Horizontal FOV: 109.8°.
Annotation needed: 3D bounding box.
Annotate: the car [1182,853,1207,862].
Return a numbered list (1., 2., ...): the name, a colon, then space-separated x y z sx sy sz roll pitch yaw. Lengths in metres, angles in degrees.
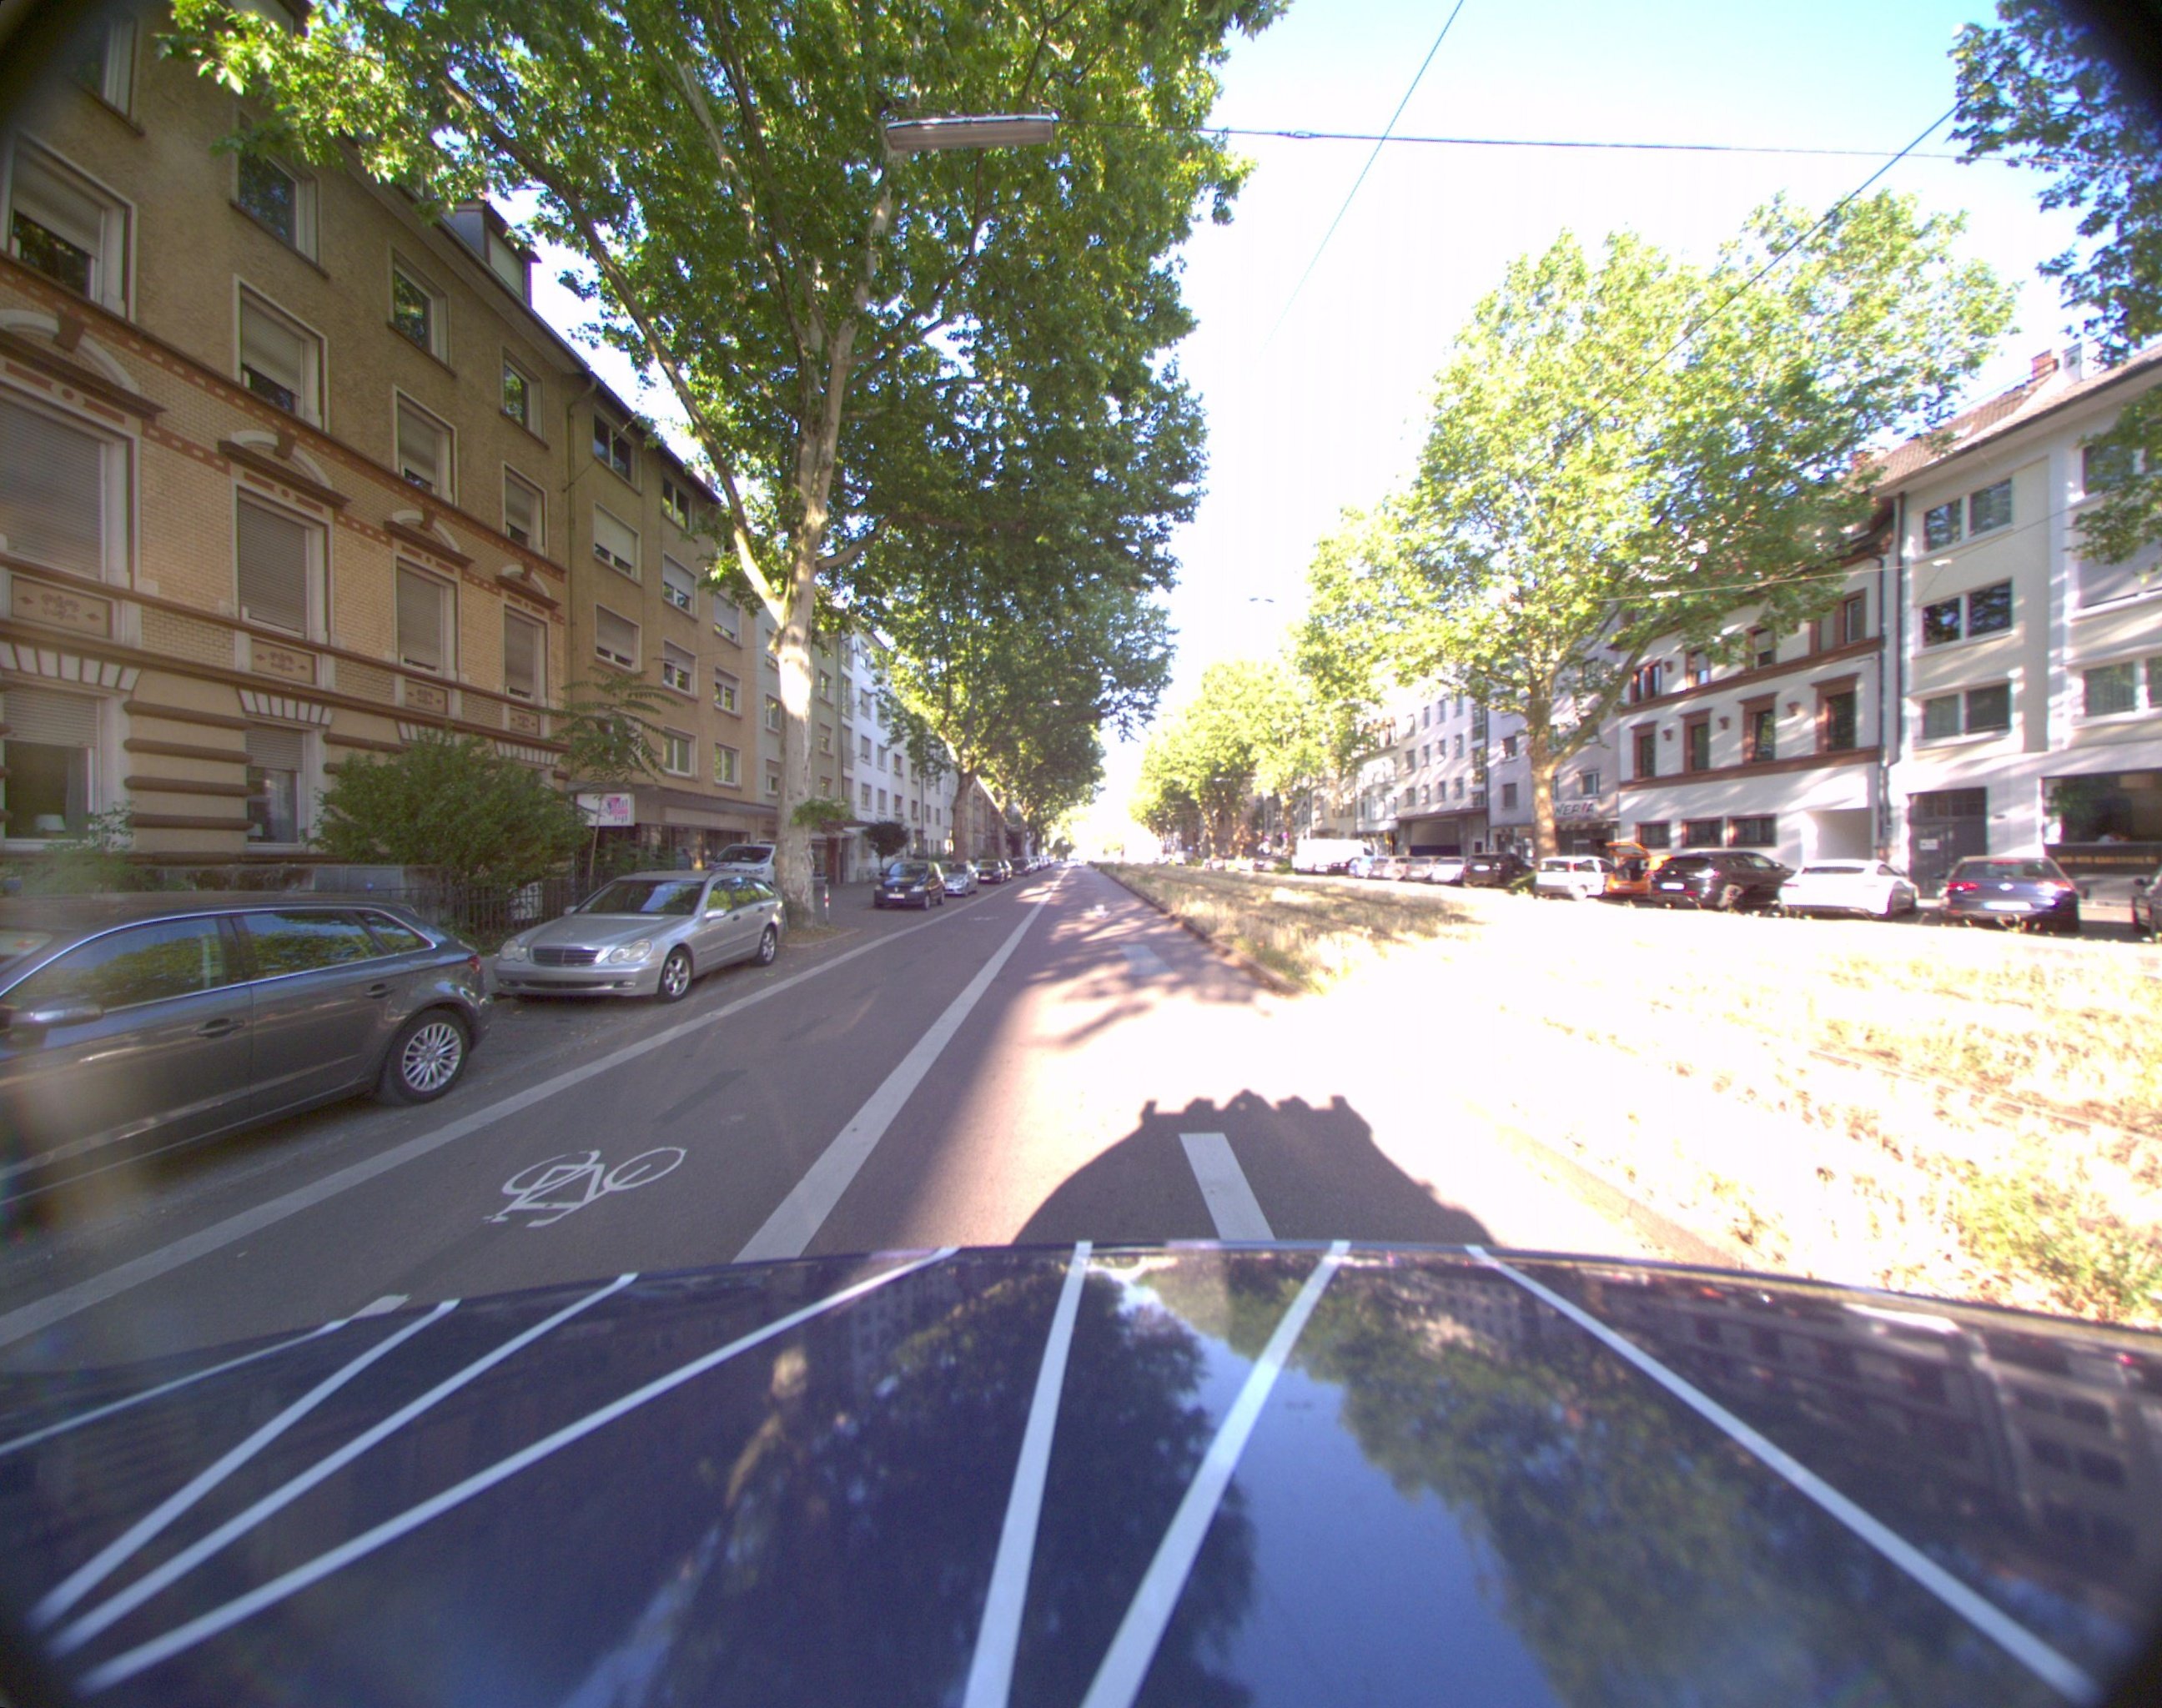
1. car: 18.979 0.589 127.203 4.006 1.240 1.726 -4 1 -34

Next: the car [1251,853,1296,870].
1. car: 18.649 0.718 73.554 4.169 1.583 1.932 2 -1 -36

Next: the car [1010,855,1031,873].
1. car: -5.277 0.860 66.491 1.748 1.455 4.024 -1 0 -5

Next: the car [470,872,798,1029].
1. car: -5.338 1.022 9.931 1.678 1.443 4.570 0 0 -2

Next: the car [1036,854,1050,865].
1. car: -5.482 0.787 109.731 1.790 1.609 3.829 1 0 0

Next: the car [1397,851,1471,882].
1. car: 19.066 0.655 40.956 4.006 1.414 1.752 -3 1 -34

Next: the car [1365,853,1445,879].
1. car: 19.177 0.715 45.087 4.002 1.483 1.948 0 0 -13

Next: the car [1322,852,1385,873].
1. car: 19.710 0.614 54.949 4.004 1.482 1.996 0 0 -22

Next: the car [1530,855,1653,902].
1. car: 18.044 0.810 26.819 4.369 1.440 1.655 -2 1 -26

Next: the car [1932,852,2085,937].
1. car: 19.367 0.771 16.032 4.007 1.433 1.797 -3 1 -43

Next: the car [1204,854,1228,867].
1. car: 15.047 0.686 85.103 1.825 1.382 4.483 2 0 -1

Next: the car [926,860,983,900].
1. car: -5.306 1.054 32.481 1.699 1.533 4.776 0 0 -1

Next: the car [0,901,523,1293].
1. car: -5.176 1.064 3.664 1.714 1.388 4.321 0 0 1

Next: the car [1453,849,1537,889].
1. car: 18.690 0.631 34.239 4.008 1.651 1.995 -1 0 -41

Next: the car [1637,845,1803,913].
1. car: 18.303 0.685 21.757 4.370 1.776 1.989 1 1 -26

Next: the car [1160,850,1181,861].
1. car: 18.319 0.382 154.814 4.007 2.002 1.995 -3 1 -42

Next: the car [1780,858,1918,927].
1. car: 18.656 0.855 18.409 4.212 1.325 1.718 -3 1 -36

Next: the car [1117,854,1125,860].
1. car: 10.797 0.854 205.072 1.997 1.477 4.002 -2 1 8

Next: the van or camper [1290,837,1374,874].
1. van or camper: 18.987 0.102 57.459 5.974 2.631 2.175 -1 0 -20

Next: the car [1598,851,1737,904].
1. car: 19.503 0.732 25.269 4.003 1.471 1.774 -3 1 -20

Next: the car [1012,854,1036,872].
1. car: -5.479 0.811 73.267 1.999 1.557 4.663 2 1 0

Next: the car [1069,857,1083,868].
1. car: -0.649 1.211 109.125 1.893 1.501 4.000 -3 1 1

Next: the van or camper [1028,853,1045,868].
1. van or camper: -5.408 0.766 92.708 1.790 1.710 4.379 1 0 1

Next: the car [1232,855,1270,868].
1. car: 18.213 0.783 81.437 3.687 1.382 1.822 -1 0 -31

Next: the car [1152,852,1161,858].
1. car: 20.191 0.329 202.882 1.998 1.412 4.000 -2 1 2

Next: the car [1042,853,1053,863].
1. car: -5.594 0.677 127.094 1.791 1.585 4.013 1 0 -2

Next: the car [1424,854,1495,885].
1. car: 18.902 0.744 37.862 4.008 1.377 1.907 -2 0 -45

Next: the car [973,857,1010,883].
1. car: -5.312 0.919 45.680 1.713 1.407 4.363 2 0 0

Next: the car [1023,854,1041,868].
1. car: -5.542 0.794 86.409 1.702 1.517 4.194 0 0 0

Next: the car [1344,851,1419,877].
1. car: 18.964 0.636 48.064 3.998 1.412 1.857 -3 1 -4

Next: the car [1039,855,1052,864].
1. car: -5.607 0.835 119.804 1.790 1.458 3.569 1 0 0

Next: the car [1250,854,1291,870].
1. car: 19.223 0.804 76.934 4.008 1.524 1.821 1 -1 -36

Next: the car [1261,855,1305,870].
1. car: 18.703 0.814 70.267 4.014 1.349 1.797 1 0 -37

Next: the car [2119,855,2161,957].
1. car: 19.061 0.813 12.691 4.007 1.433 1.717 -3 1 -41

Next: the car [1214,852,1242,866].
1. car: 18.835 0.634 97.412 1.726 1.643 4.009 -1 -1 40

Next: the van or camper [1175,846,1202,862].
1. van or camper: 18.365 0.026 129.725 4.371 2.386 2.196 -4 2 -40

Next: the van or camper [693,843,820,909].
1. van or camper: -10.432 0.642 24.959 1.947 1.911 5.390 0 0 -1

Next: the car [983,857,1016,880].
1. car: -5.398 0.928 50.570 1.713 1.407 4.363 2 0 0

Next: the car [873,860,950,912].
1. car: -5.422 0.969 24.725 1.658 1.536 3.999 0 0 -1
